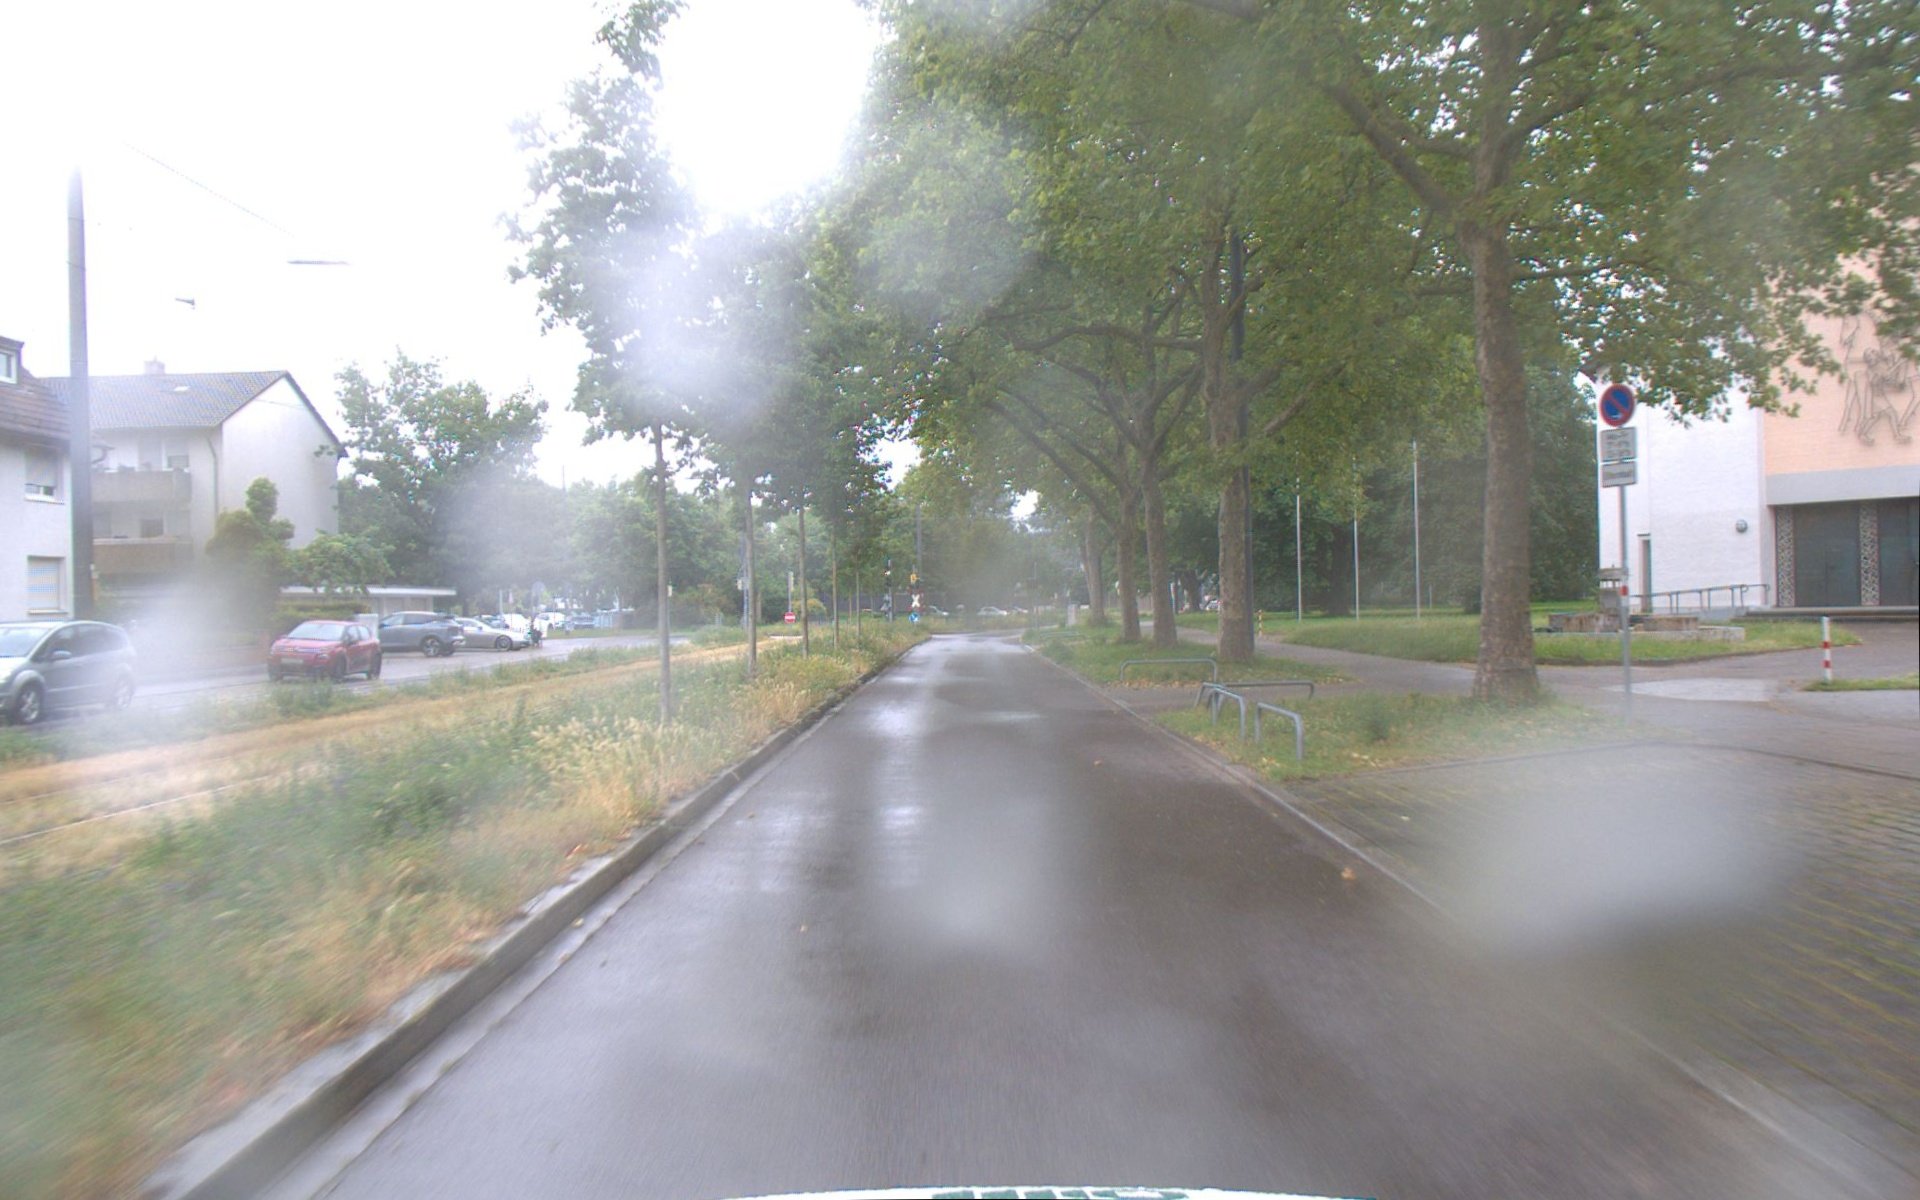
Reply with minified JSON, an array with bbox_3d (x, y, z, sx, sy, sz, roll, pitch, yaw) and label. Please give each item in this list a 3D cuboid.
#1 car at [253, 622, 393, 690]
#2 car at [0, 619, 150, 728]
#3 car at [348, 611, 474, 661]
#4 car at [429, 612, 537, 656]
[{"bbox_3d":[-15.963,1.368,41.671,1.953,1.514,4.204,0,0,-1],"label":"car"},{"bbox_3d":[-15.721,1.163,27.898,1.953,1.608,4.516,0,0,-1],"label":"car"},{"bbox_3d":[-19.965,1.289,60.265,3.908,1.645,1.999,-2,0,-3],"label":"car"},{"bbox_3d":[-19.701,1.391,68.449,3.908,1.645,1.999,-2,0,-3],"label":"car"}]
